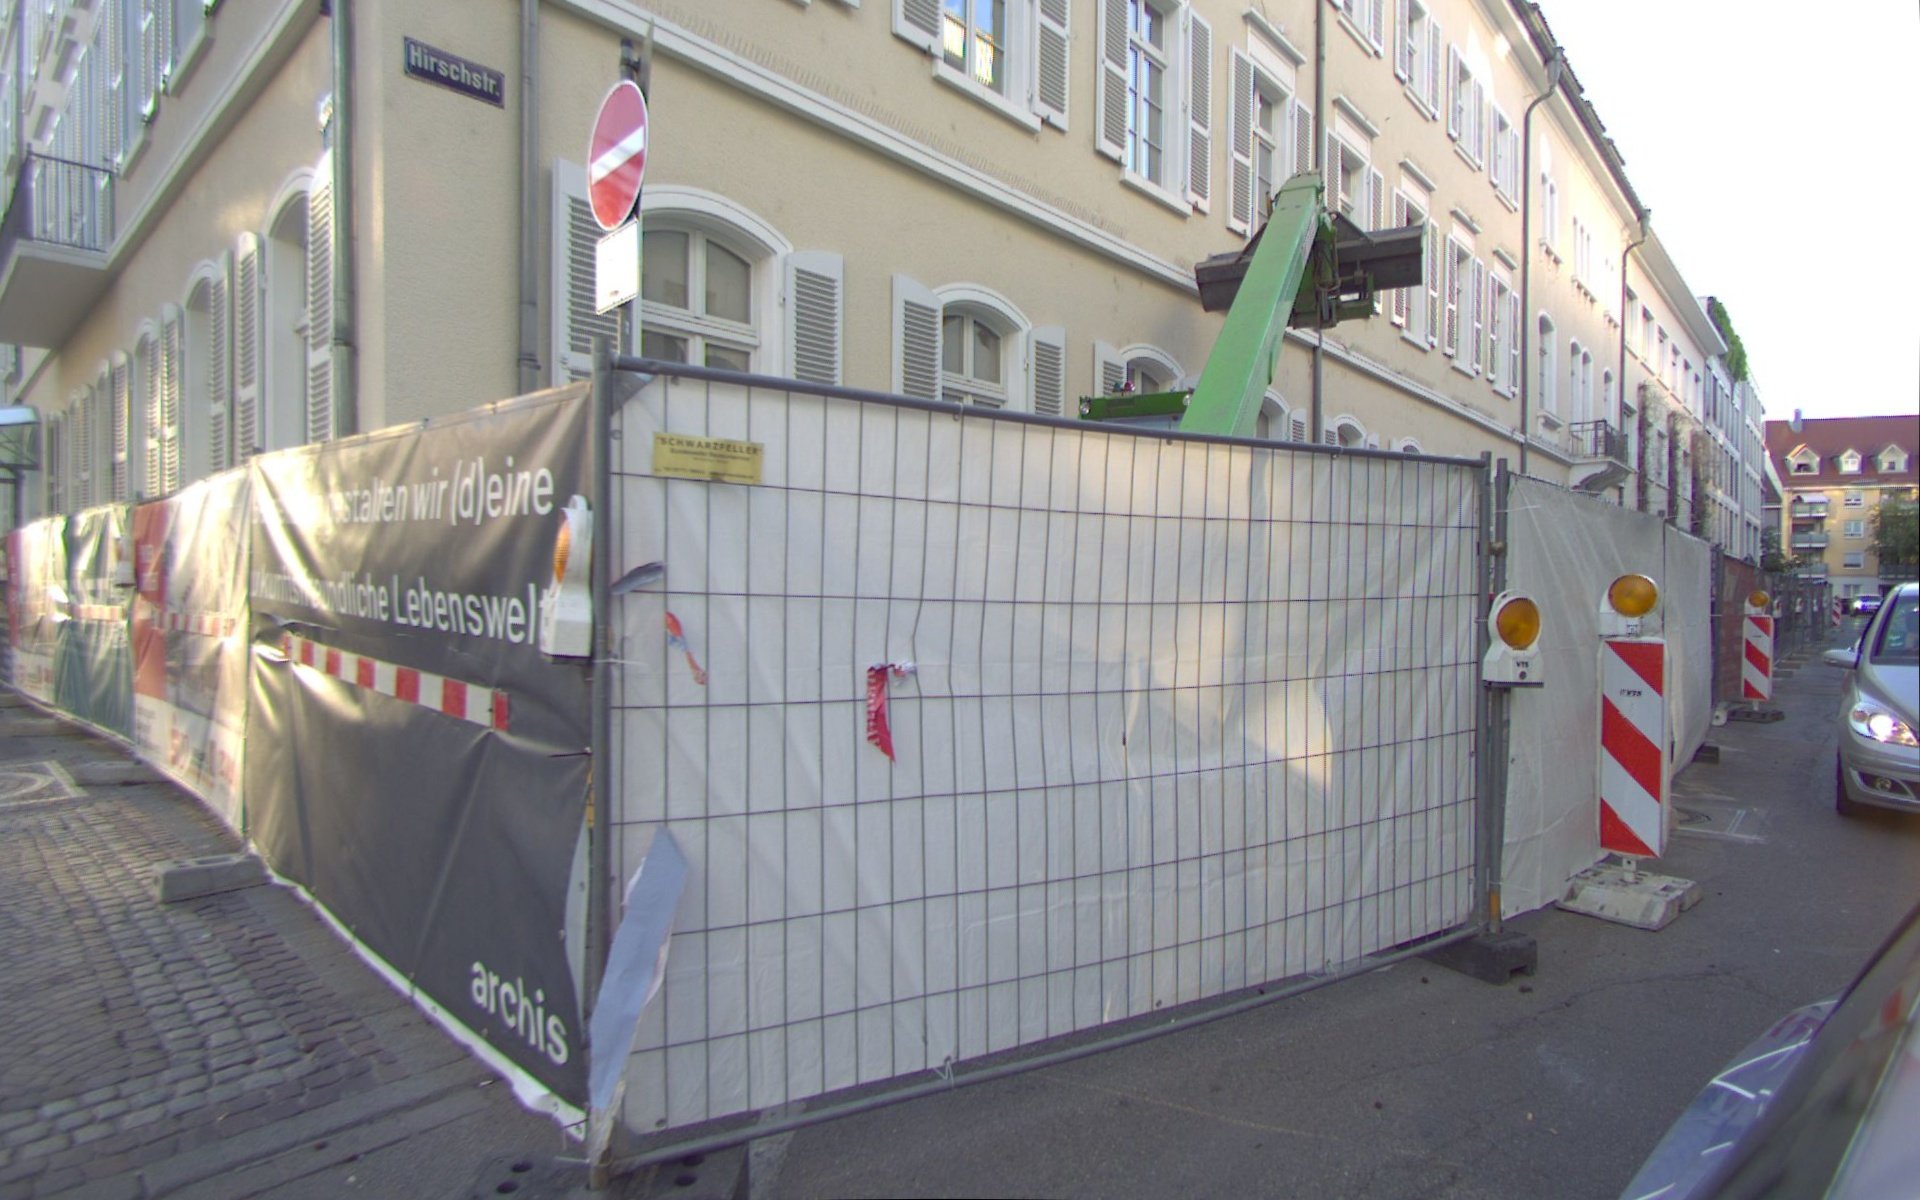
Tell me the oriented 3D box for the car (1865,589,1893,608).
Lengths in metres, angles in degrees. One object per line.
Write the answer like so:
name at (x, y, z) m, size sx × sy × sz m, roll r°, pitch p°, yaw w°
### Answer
car at (68.618, -0.128, 75.554) m, size 1.534 × 1.342 × 3.302 m, roll 0°, pitch 1°, yaw 42°

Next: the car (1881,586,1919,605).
car at (83.448, -0.377, 89.165) m, size 1.805 × 1.486 × 4.302 m, roll 1°, pitch 3°, yaw 20°

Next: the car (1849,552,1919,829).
car at (7.540, 0.573, 7.149) m, size 1.799 × 1.637 × 4.206 m, roll 2°, pitch 1°, yaw 42°

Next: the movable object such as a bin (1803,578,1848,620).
movable object such as a bin at (58.372, -0.088, 68.222) m, size 2.015 × 2.657 × 5.661 m, roll -3°, pitch -1°, yaw 43°

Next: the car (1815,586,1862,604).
car at (78.830, -0.489, 90.900) m, size 1.726 × 1.420 × 4.220 m, roll 1°, pitch 3°, yaw 20°

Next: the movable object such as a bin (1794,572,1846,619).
movable object such as a bin at (51.290, -0.236, 60.324) m, size 2.015 × 2.657 × 5.661 m, roll -3°, pitch -2°, yaw 43°

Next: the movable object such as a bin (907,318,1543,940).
movable object such as a bin at (2.103, 0.095, 7.188) m, size 2.604 × 2.874 × 4.381 m, roll 2°, pitch 1°, yaw 43°

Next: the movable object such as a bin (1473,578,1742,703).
movable object such as a bin at (11.204, 0.508, 17.126) m, size 2.733 × 1.659 × 7.439 m, roll 0°, pitch 0°, yaw 41°
